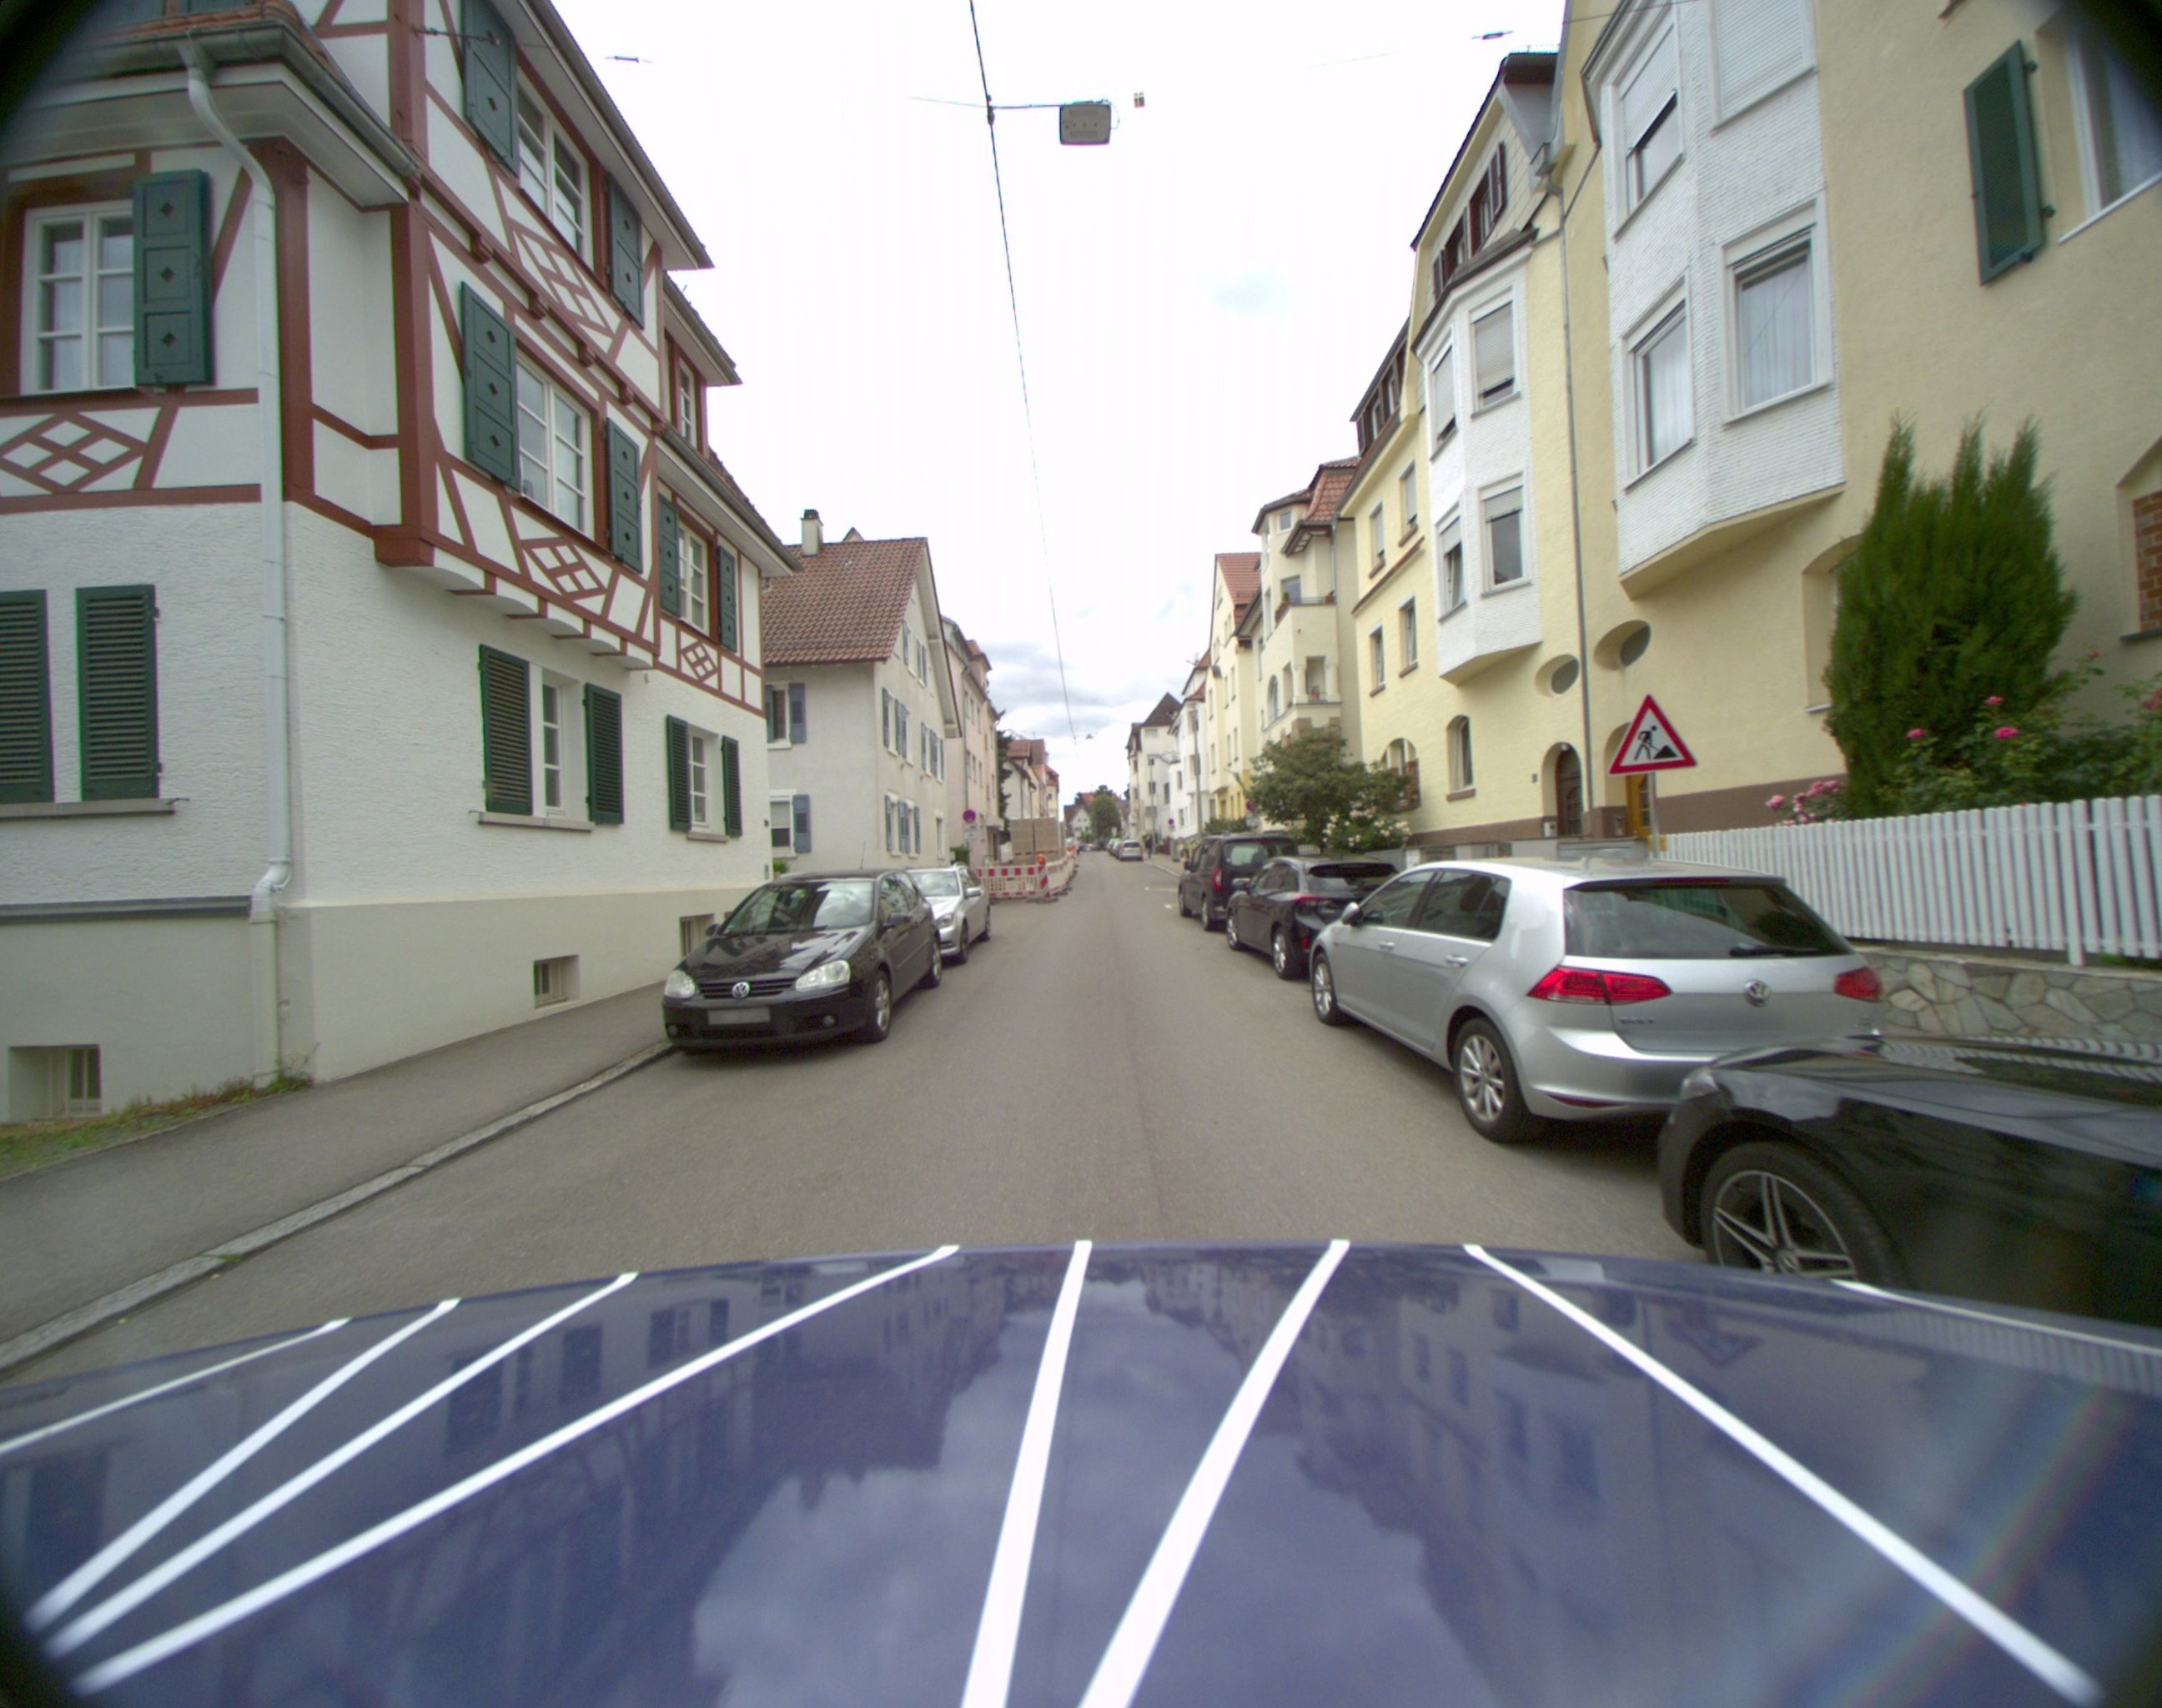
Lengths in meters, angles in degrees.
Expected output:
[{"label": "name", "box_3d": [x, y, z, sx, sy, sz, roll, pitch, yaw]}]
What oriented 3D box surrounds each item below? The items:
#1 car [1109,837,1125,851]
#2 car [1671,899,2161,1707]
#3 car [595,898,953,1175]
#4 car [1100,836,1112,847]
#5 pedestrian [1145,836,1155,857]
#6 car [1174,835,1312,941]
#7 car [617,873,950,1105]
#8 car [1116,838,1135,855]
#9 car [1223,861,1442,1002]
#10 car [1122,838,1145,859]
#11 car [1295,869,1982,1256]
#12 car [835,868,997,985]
[{"label": "car", "box_3d": [4.340, -1.191, 91.400, 1.782, 1.558, 3.999, -2, 2, 2]}, {"label": "car", "box_3d": [2.787, 0.910, 0.268, 1.807, 1.471, 4.328, -2, 0, 1]}, {"label": "car", "box_3d": [-2.480, 1.382, 7.299, 1.781, 1.710, 4.001, -3, -1, -1]}, {"label": "car", "box_3d": [3.855, -2.030, 118.921, 1.782, 1.558, 3.999, -3, 2, 2]}, {"label": "pedestrian", "box_3d": [5.389, -0.579, 59.353, 0.617, 1.647, 0.812, -4, 1, 2]}, {"label": "car", "box_3d": [3.050, 0.554, 15.187, 1.753, 1.786, 4.148, -1, 1, -2]}, {"label": "car", "box_3d": [-2.532, 1.044, 7.599, 1.609, 1.481, 4.023, -4, 1, 1]}, {"label": "car", "box_3d": [4.387, -0.761, 75.305, 1.782, 1.558, 3.999, -2, 2, 2]}, {"label": "car", "box_3d": [3.001, 0.843, 9.881, 1.643, 1.391, 3.702, 0, 1, 0]}, {"label": "car", "box_3d": [4.074, -0.463, 59.271, 1.663, 1.558, 3.999, -2, 2, 2]}, {"label": "car", "box_3d": [2.837, 0.892, 5.140, 1.643, 1.420, 4.123, -1, 1, 1]}, {"label": "car", "box_3d": [-2.466, 1.013, 12.370, 1.629, 1.385, 4.236, -4, 0, 0]}]
